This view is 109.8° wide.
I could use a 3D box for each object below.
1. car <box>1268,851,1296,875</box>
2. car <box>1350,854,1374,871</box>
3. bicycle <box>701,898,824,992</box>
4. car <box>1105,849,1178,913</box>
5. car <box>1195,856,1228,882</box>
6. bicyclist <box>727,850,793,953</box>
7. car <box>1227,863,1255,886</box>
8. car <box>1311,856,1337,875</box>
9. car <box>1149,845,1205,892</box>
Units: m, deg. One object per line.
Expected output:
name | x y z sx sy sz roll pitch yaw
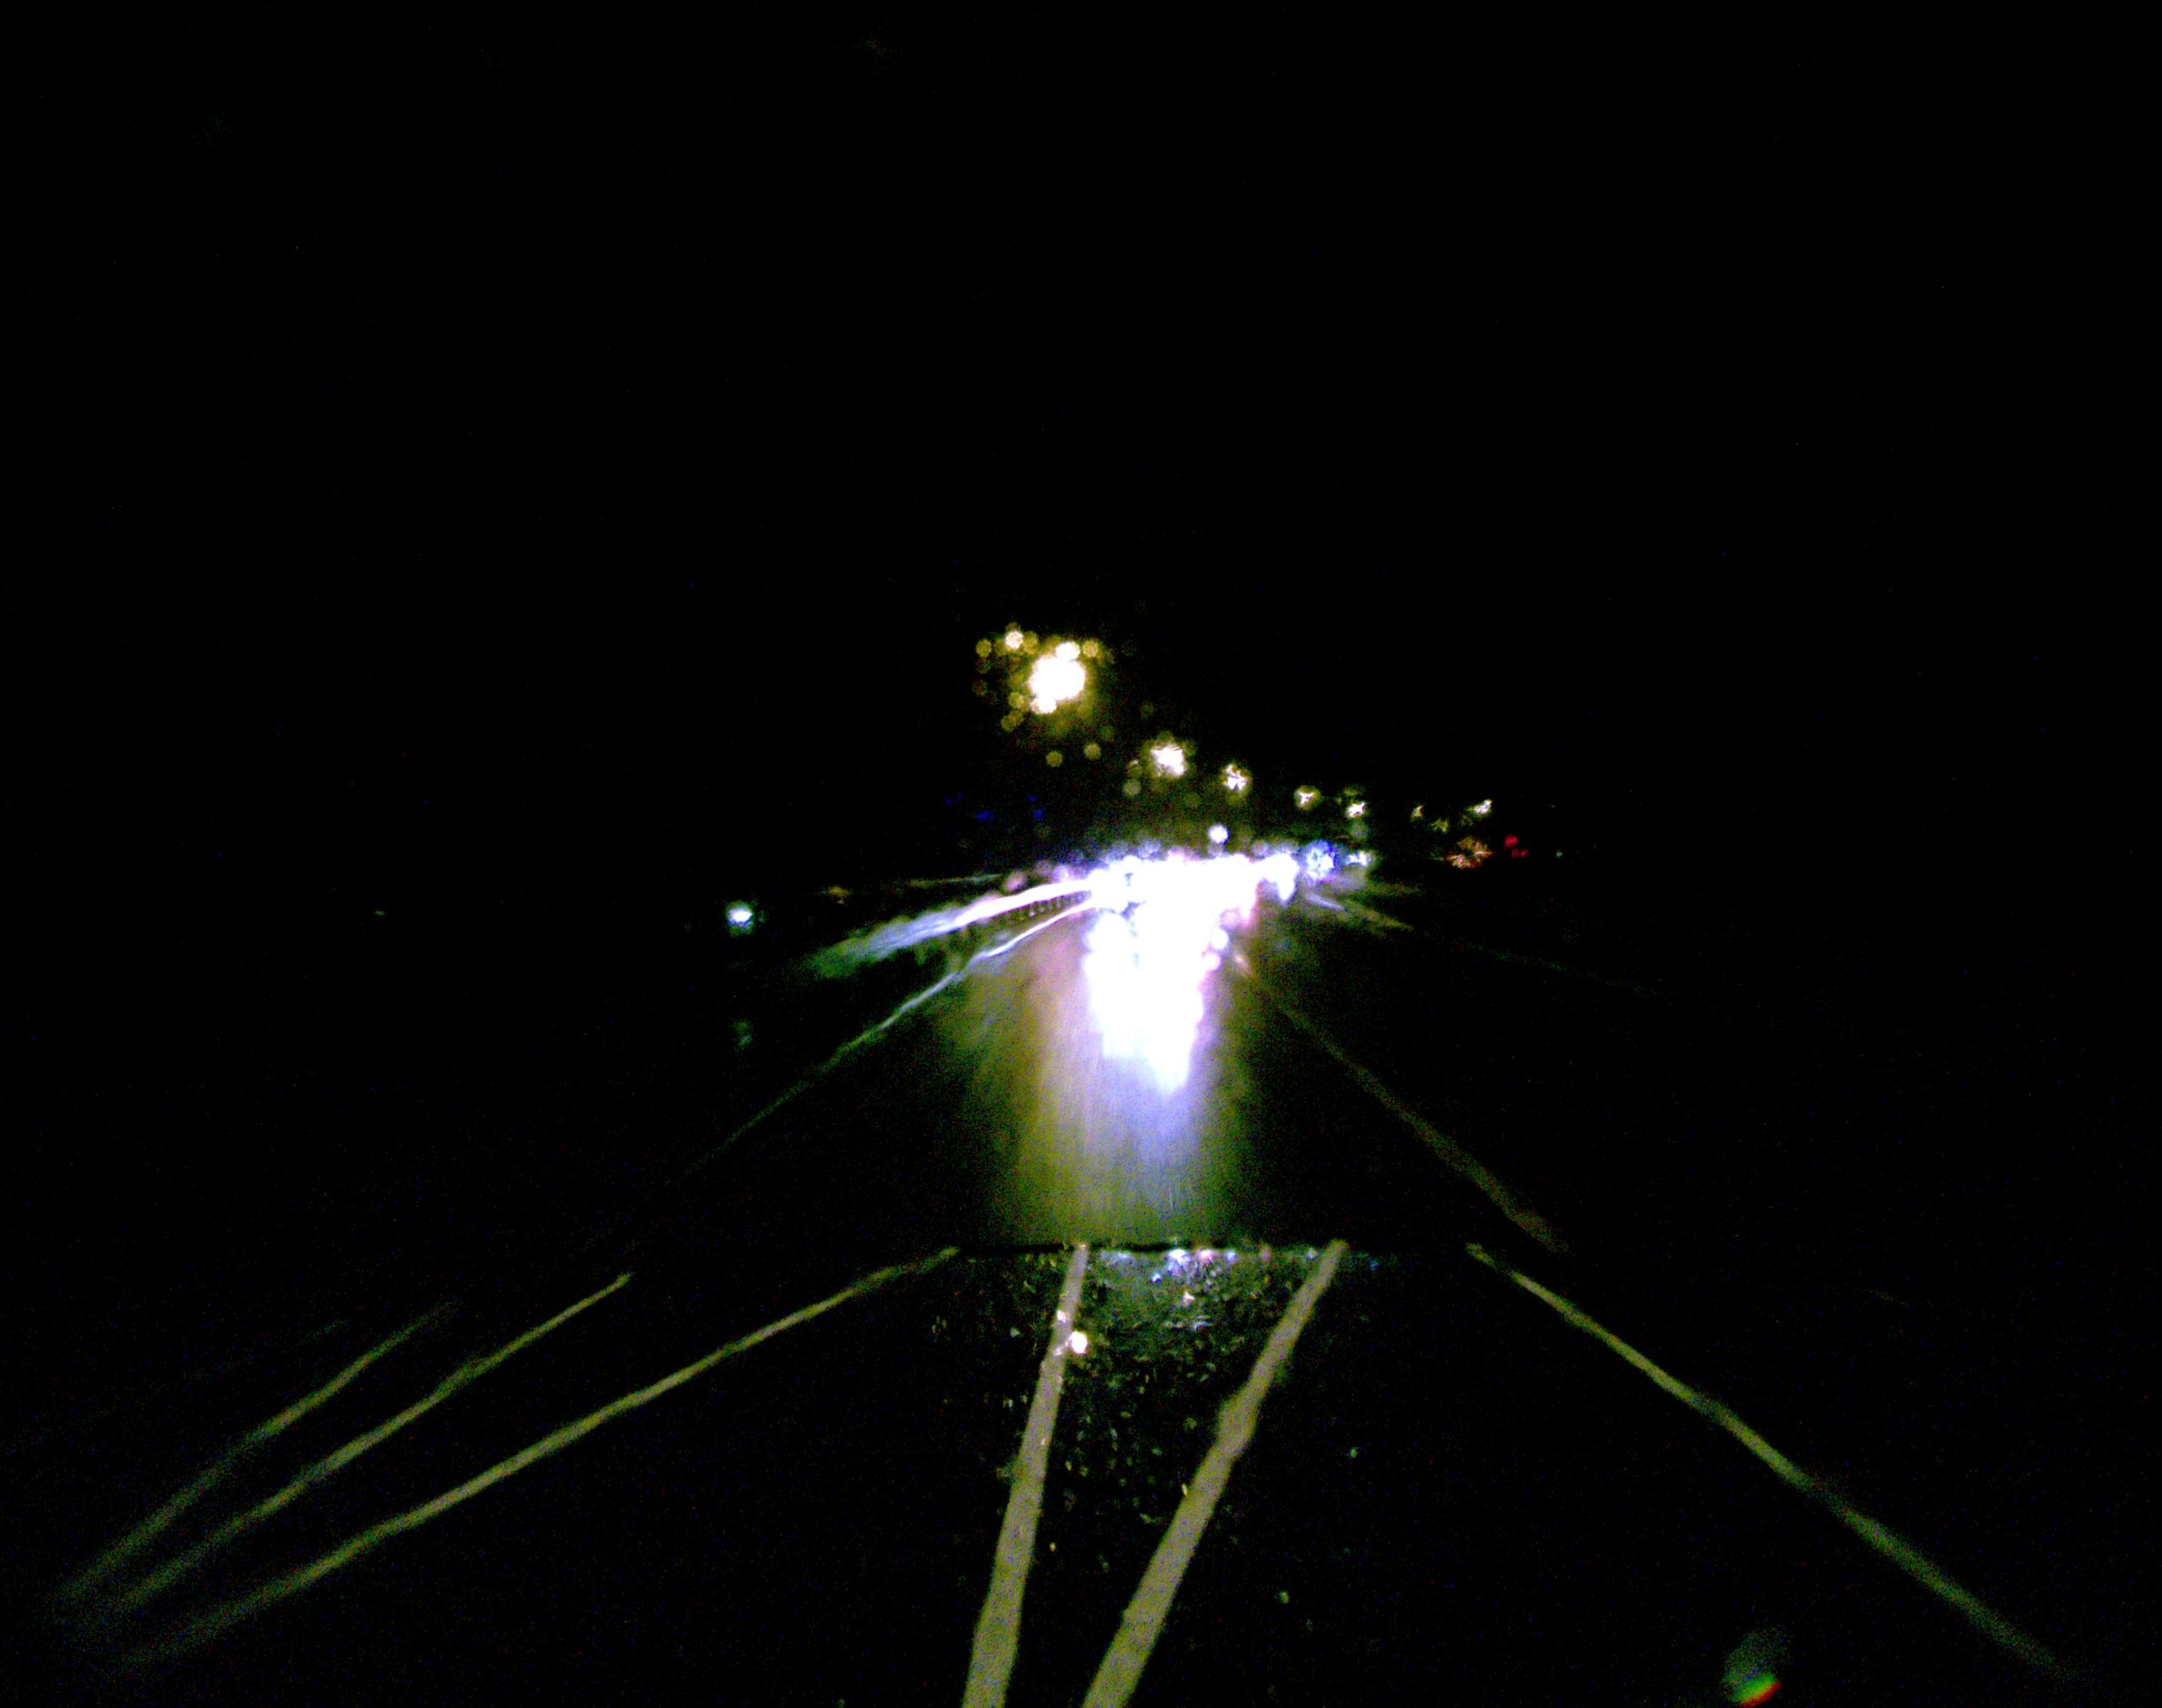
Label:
car | 19.519 0.899 73.638 1.653 1.999 4.009 -9 -6 25
car | 36.800 1.118 99.376 1.653 1.999 4.009 -10 -7 36
bicycle | -4.325 1.198 10.516 0.485 1.028 2.173 -1 0 8
car | 1.813 0.787 22.720 1.927 1.704 4.241 1 -1 4
car | 8.251 0.932 47.846 1.520 1.516 3.112 -1 -1 19
bicyclist | -4.356 0.621 10.347 0.453 1.341 0.765 -2 0 9
car | 12.465 1.545 59.035 1.303 1.519 3.051 -10 -3 24
car | 27.974 1.352 87.352 1.653 1.999 4.009 -10 -7 31
car | 4.524 0.619 35.226 1.996 2.002 4.004 -1 1 16
